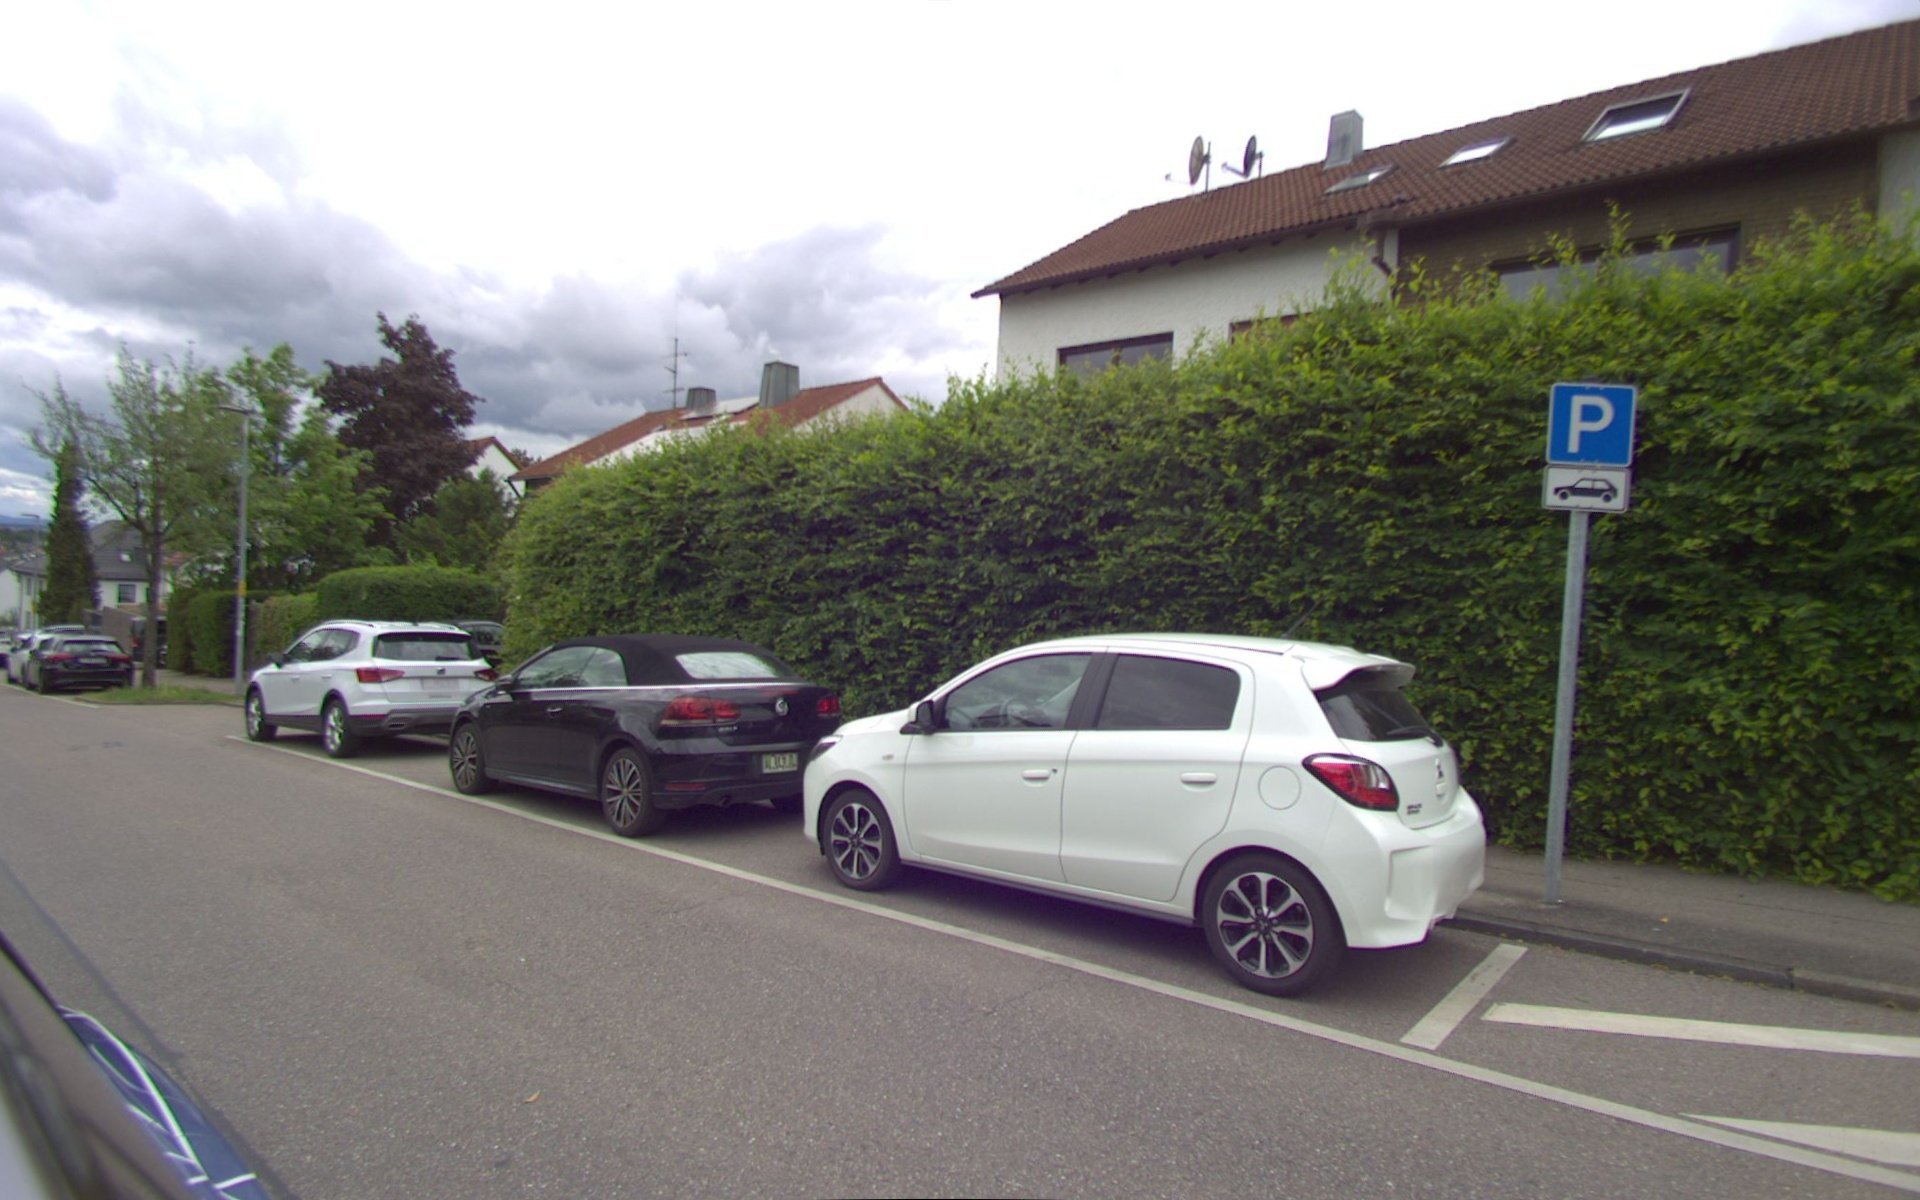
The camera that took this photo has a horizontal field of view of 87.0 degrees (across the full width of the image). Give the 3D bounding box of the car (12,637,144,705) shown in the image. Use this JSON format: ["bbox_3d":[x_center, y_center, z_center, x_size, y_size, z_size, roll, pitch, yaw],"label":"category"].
[{"bbox_3d":[-22.163,1.713,25.387,4.003,1.561,1.920,-2,-3,41],"label":"car"}]

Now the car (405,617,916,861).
[{"bbox_3d":[-2.719,0.949,8.483,4.736,1.501,1.763,-1,-5,41],"label":"car"}]

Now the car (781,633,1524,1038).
[{"bbox_3d":[0.847,0.927,5.458,3.578,1.430,1.672,-1,-4,41],"label":"car"}]

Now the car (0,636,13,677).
[{"bbox_3d":[-39.663,2.262,40.687,3.998,1.541,1.910,-1,-1,41],"label":"car"}]

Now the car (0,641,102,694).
[{"bbox_3d":[-25.826,1.865,28.668,3.997,1.386,1.703,-2,-3,41],"label":"car"}]

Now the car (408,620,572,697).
[{"bbox_3d":[-10.005,1.208,21.630,1.500,1.517,2.848,-2,-2,45],"label":"car"}]

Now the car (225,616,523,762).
[{"bbox_3d":[-7.380,0.986,12.572,4.339,1.501,1.866,-2,-3,41],"label":"car"}]
